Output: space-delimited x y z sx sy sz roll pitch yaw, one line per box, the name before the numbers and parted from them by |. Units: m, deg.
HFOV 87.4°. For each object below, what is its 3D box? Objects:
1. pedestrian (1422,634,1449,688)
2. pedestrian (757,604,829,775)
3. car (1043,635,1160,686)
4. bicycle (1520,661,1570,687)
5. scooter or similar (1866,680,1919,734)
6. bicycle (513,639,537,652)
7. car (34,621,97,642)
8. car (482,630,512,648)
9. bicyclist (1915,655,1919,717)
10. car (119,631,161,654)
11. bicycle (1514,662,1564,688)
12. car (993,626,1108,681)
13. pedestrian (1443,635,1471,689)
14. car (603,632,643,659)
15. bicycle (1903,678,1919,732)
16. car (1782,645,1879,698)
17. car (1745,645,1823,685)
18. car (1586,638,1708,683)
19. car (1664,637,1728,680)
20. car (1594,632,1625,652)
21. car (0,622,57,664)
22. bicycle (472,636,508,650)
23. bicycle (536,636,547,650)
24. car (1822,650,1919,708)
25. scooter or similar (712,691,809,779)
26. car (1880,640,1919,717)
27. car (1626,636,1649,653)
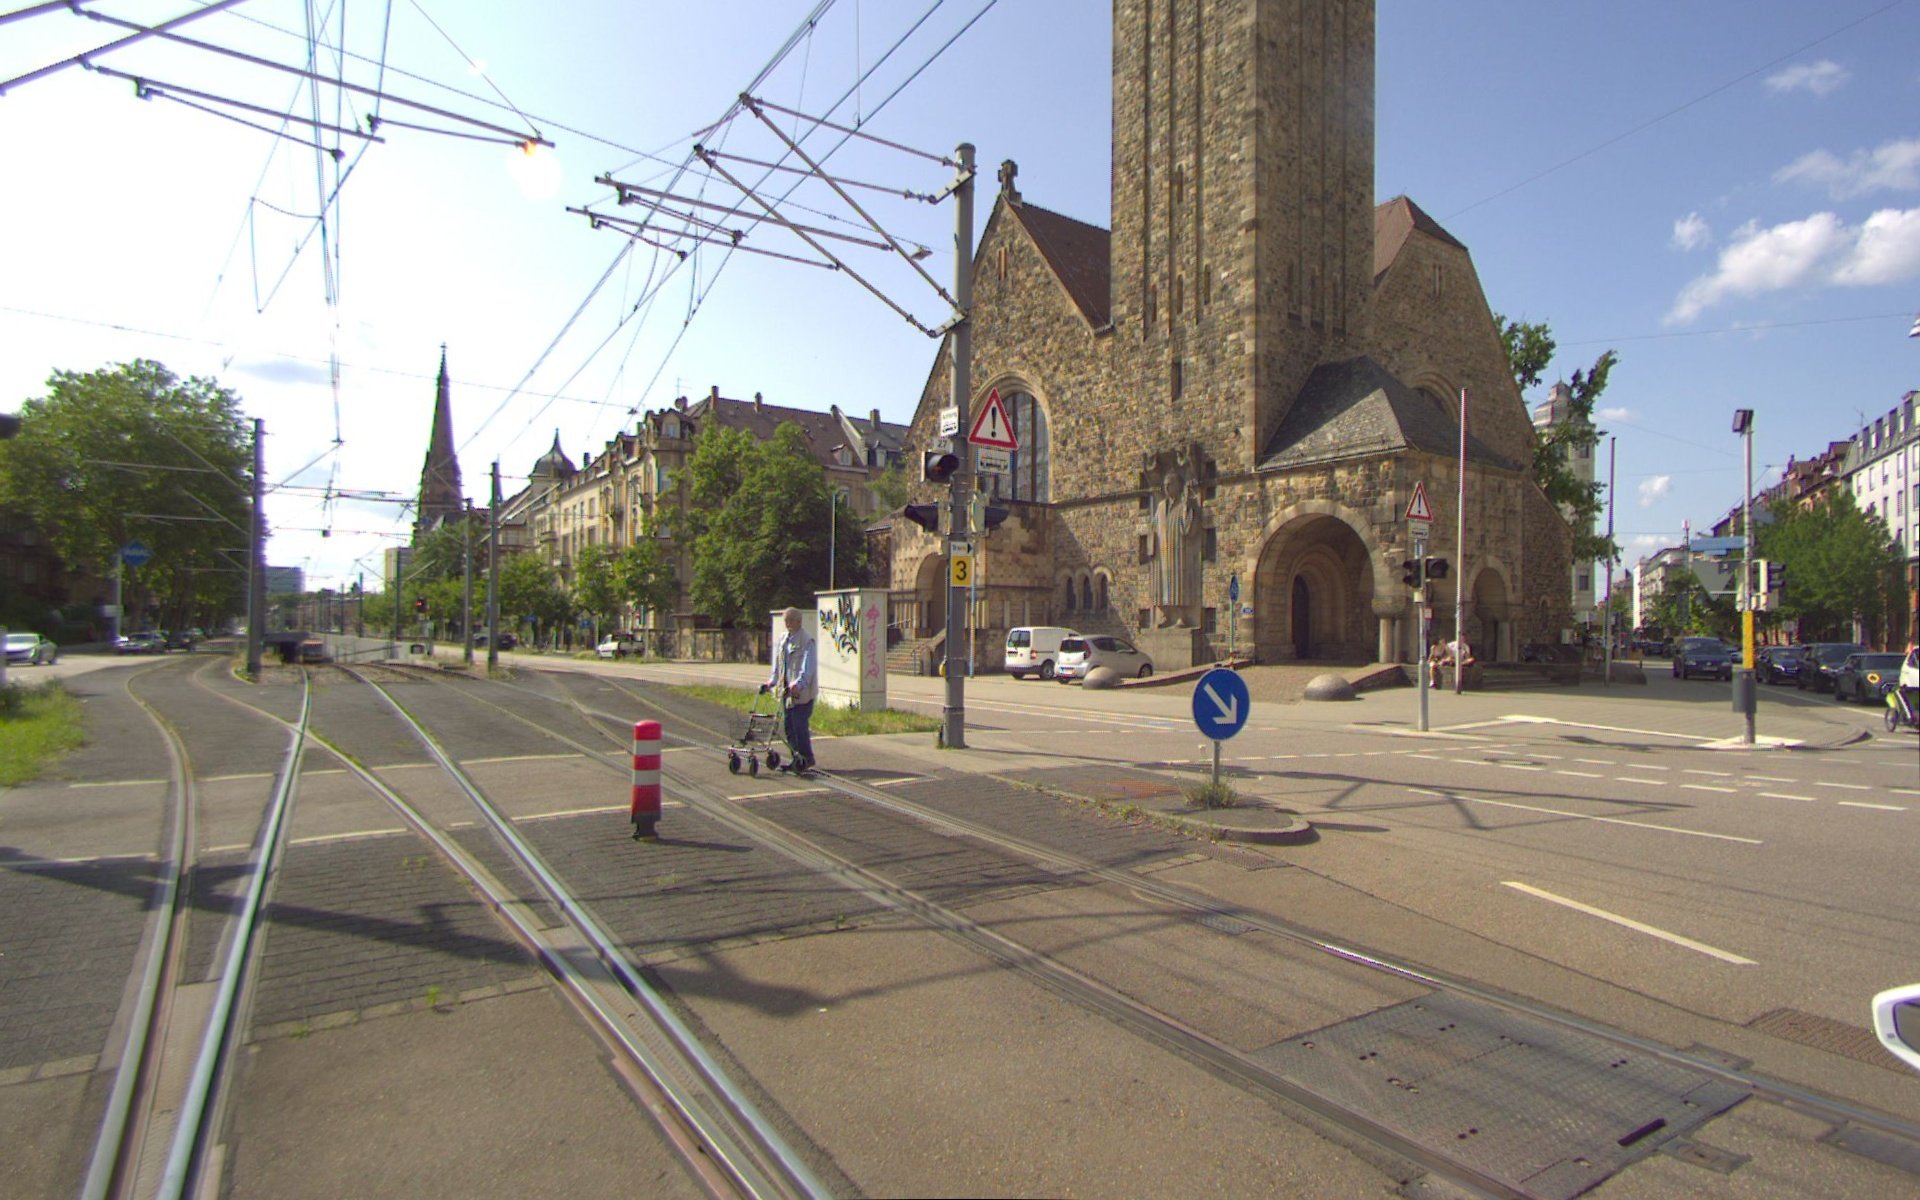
pedestrian | 13.212 1.693 27.891 0.547 1.426 0.517 -1 4 8
pedestrian | -1.783 0.933 10.722 0.524 1.755 0.551 2 -2 -40
car | 4.741 1.975 33.477 3.744 1.567 1.779 2 -2 -37
bicycle | 18.573 2.330 31.885 0.336 0.751 1.353 2 -2 -36
scooter or similar | 18.929 2.134 20.122 0.874 0.990 1.130 0 -2 25
bicycle | -34.897 3.644 80.676 1.698 1.083 0.466 2 -2 -41
car | -87.337 3.114 98.160 4.375 1.943 1.979 2 -2 -37
car | -40.467 3.414 87.760 1.674 1.522 4.663 2 -2 -34
bicyclist | 18.308 1.776 18.542 0.640 1.523 0.921 -4 -3 25
car | -54.257 2.762 66.527 1.709 1.435 4.364 0 -1 -33
bicycle | 18.224 2.341 31.628 0.336 0.751 1.353 2 -2 -36
car | 3.324 1.921 36.524 3.980 1.848 1.843 2 -2 -38
pedestrian | 13.765 1.705 27.817 0.547 1.426 0.517 -1 4 8
car | -19.645 2.608 58.534 1.652 1.435 3.818 3 -3 -26
bicycle | 18.285 1.989 18.552 0.640 1.002 2.133 0 -2 25
car | 29.869 2.407 34.578 1.672 1.617 4.066 0 -2 29
car | 32.602 2.539 39.843 1.672 1.409 3.856 0 -2 29
car | 27.076 2.344 39.764 1.993 1.674 3.971 1 -2 -3
car | 31.991 2.508 43.746 1.783 1.686 4.065 -1 -1 30
car | 45.882 2.943 70.931 1.617 1.343 3.731 -1 -2 36
car | -41.790 1.857 44.550 1.934 1.628 5.026 1 0 -35
bicycle | -43.693 3.984 93.355 0.782 1.262 2.940 -1 -3 42
bicycle | -36.832 3.756 88.396 0.424 1.155 2.004 -2 0 -35
car | 26.046 2.199 28.517 1.644 1.469 3.730 0 -2 29
scooter or similar | -2.074 1.387 10.465 0.834 0.815 0.547 2 -2 -40
car | 23.124 1.816 23.123 1.782 1.763 4.657 0 -2 29
car | 80.083 5.248 118.697 1.964 1.840 3.993 0 -2 30
